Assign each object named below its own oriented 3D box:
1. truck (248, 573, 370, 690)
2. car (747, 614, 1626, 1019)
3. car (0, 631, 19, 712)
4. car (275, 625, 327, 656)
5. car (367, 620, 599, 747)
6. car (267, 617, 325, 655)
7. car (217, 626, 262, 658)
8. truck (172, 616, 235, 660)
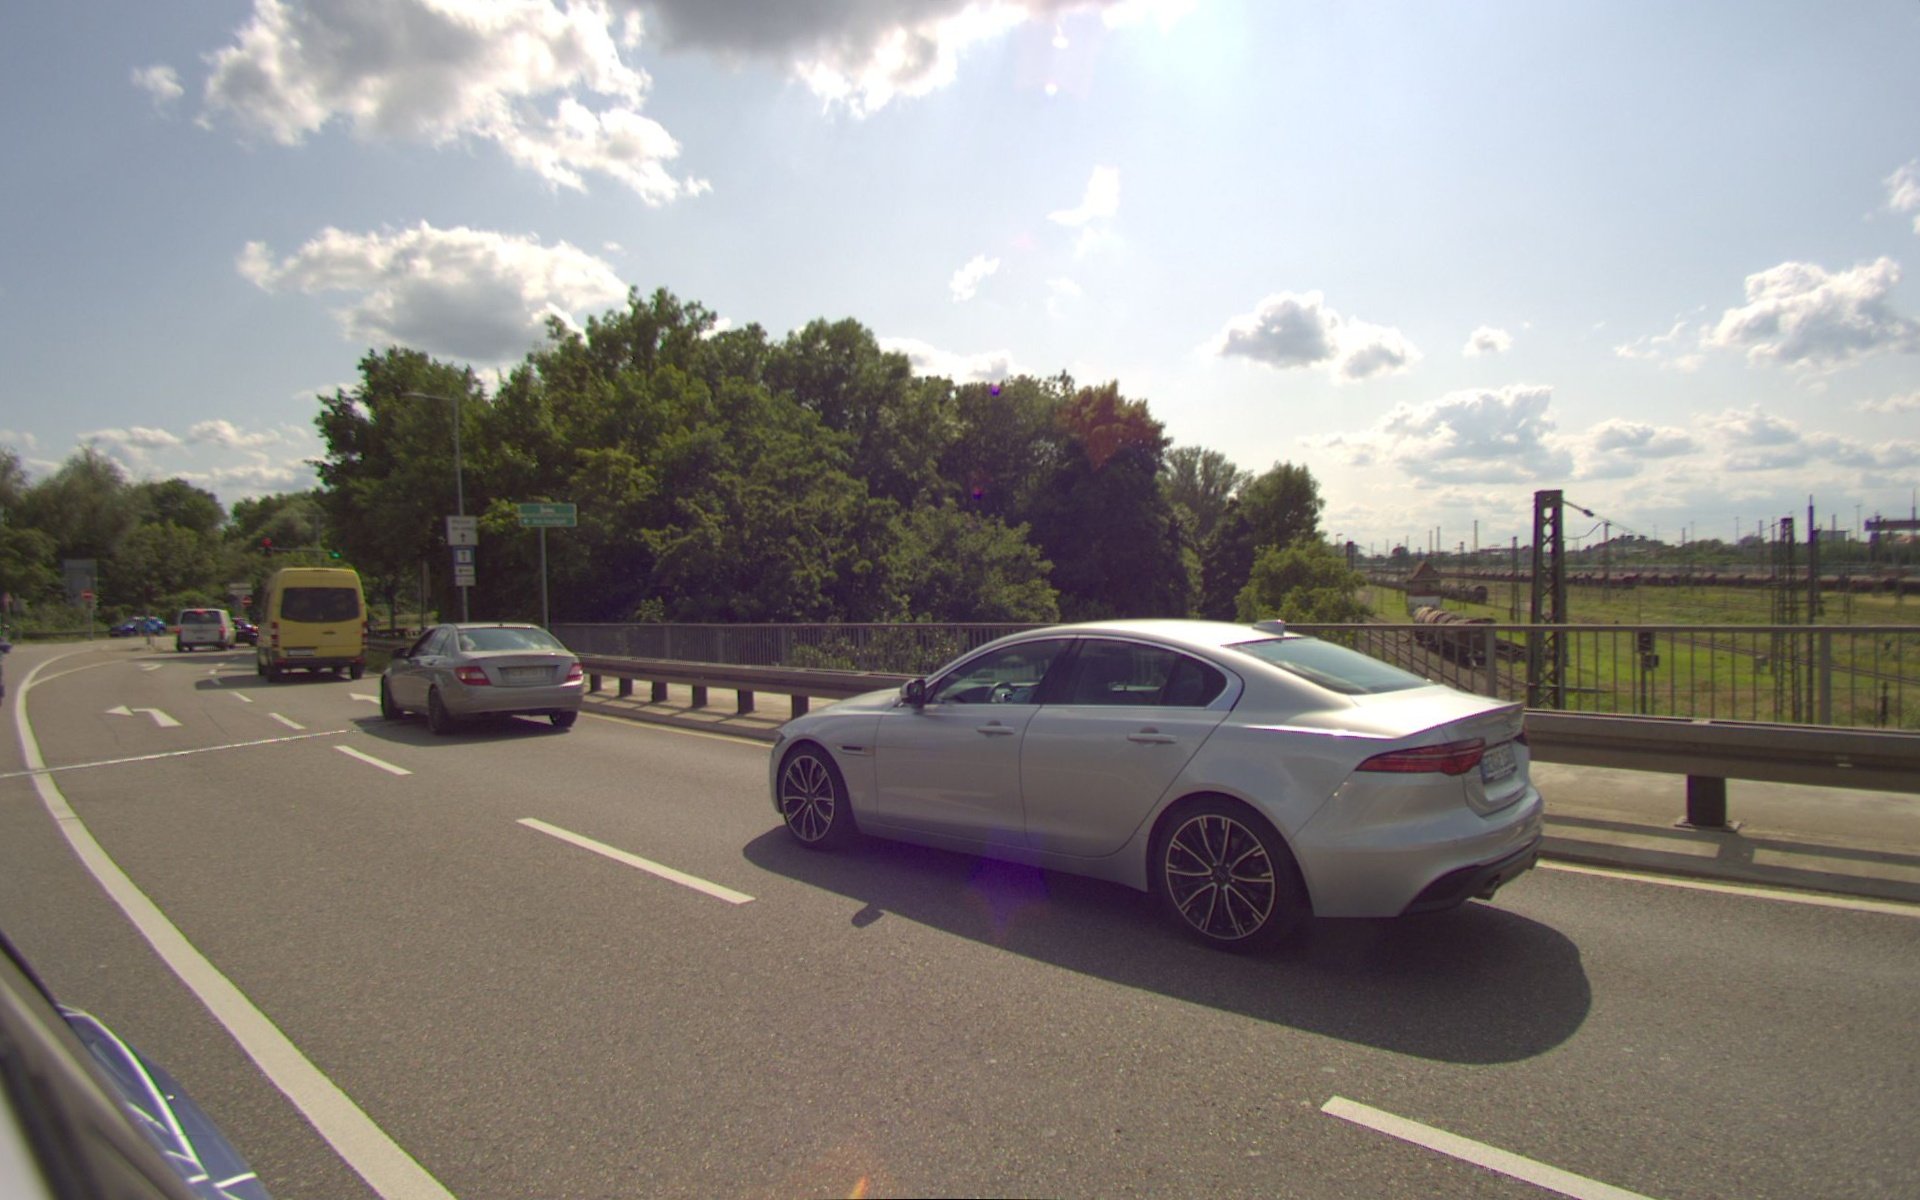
[{"bbox_3d":[-16.647,0.798,25.726,1.968,2.641,6.115,2,-2,-38],"label":"truck"},{"bbox_3d":[0.877,0.810,5.717,4.580,1.385,1.774,-2,-2,43],"label":"car"},{"bbox_3d":[-19.133,1.325,19.043,1.830,1.373,4.007,1,-1,-40],"label":"car"},{"bbox_3d":[-32.236,1.969,49.578,1.773,1.400,4.019,0,-1,-28],"label":"car"},{"bbox_3d":[-6.772,1.024,14.109,1.727,1.460,4.342,0,-1,-42],"label":"car"},{"bbox_3d":[-35.925,1.920,54.892,1.965,1.928,5.149,0,-1,-26],"label":"car"},{"bbox_3d":[-38.376,2.220,53.971,1.674,1.569,3.833,-1,-1,-31],"label":"car"},{"bbox_3d":[-35.538,1.752,47.653,1.933,1.927,5.385,-1,-1,-32],"label":"truck"}]
